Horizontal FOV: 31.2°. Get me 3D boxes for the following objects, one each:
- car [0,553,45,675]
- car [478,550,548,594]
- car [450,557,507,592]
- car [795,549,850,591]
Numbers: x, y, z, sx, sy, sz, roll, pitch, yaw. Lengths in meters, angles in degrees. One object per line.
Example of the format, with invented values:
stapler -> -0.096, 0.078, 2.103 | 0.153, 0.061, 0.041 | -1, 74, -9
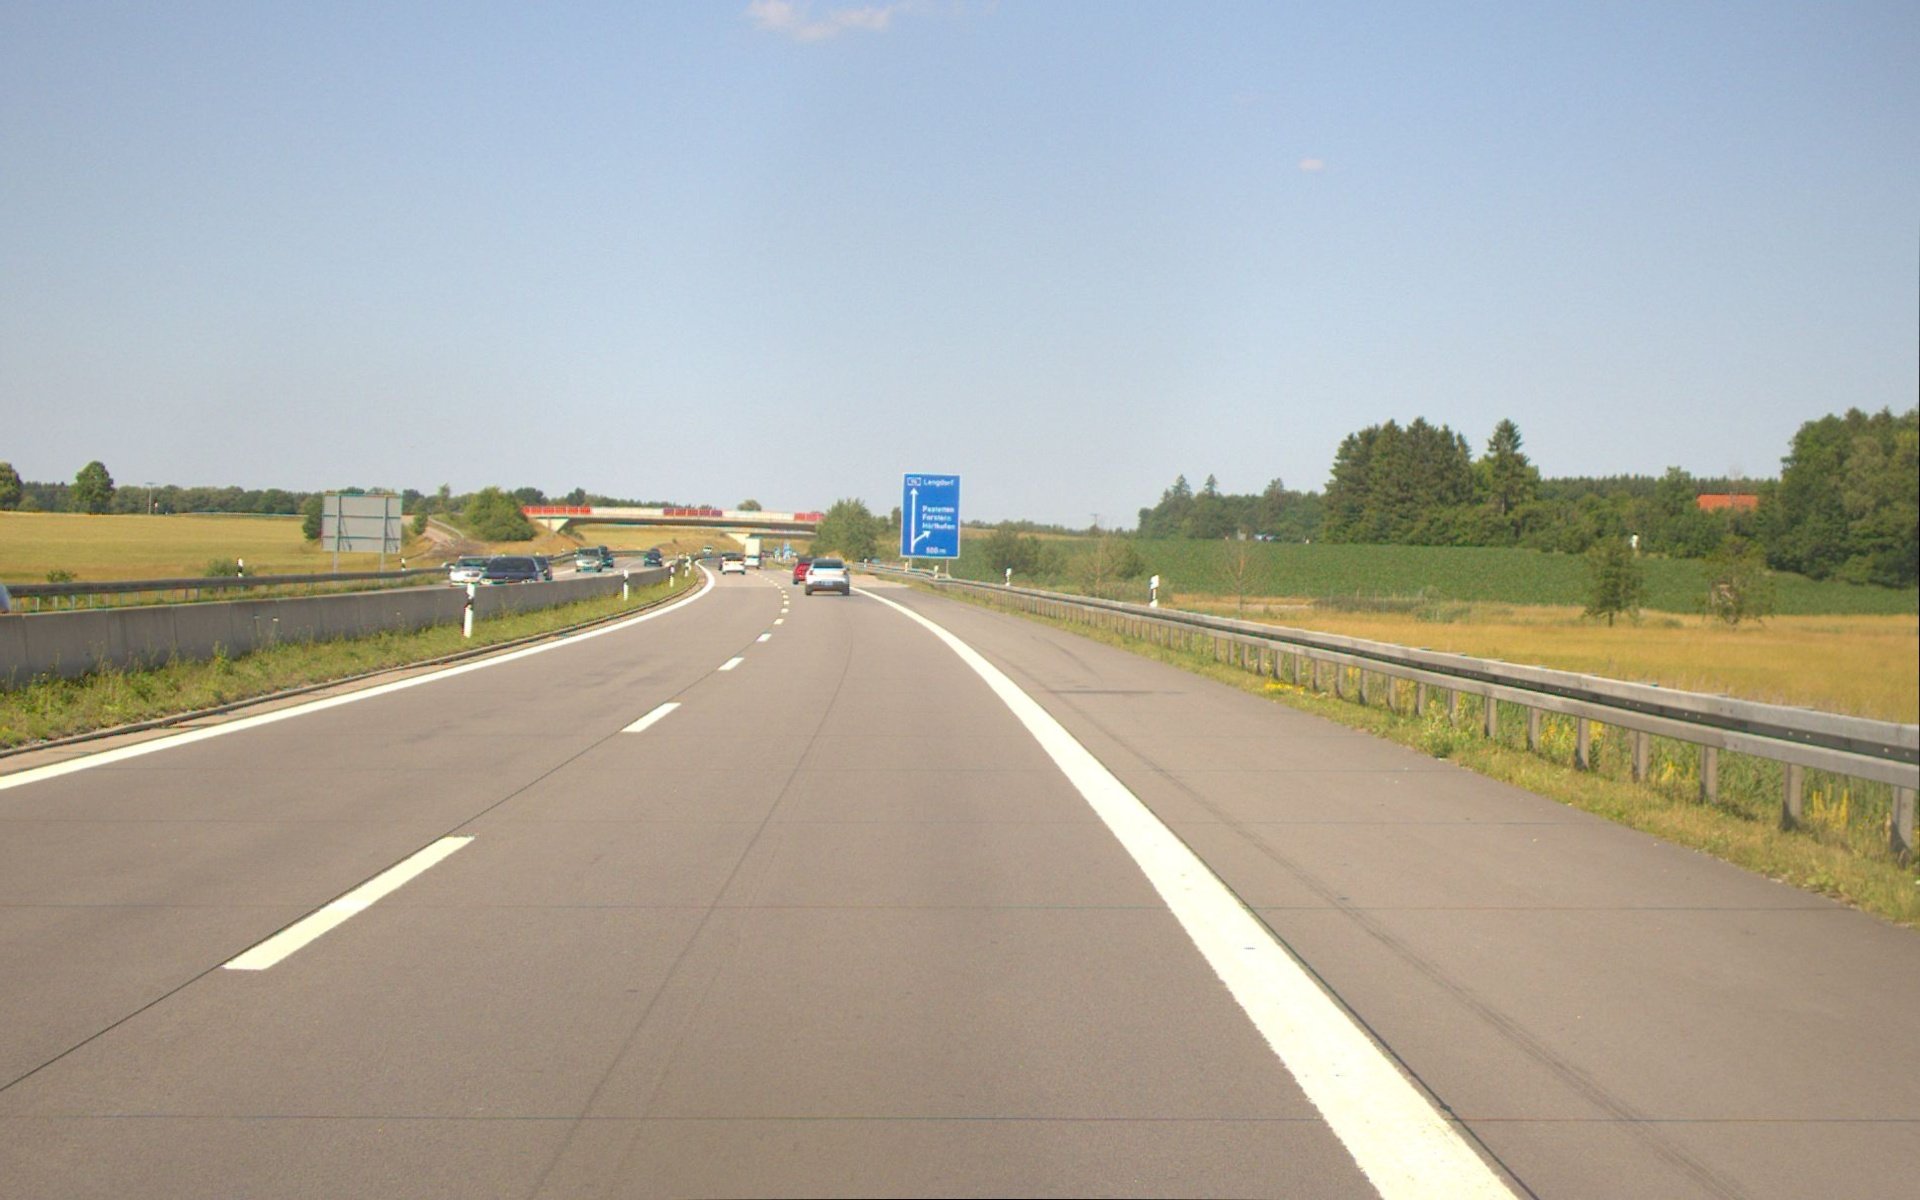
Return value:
car -> -11.681, 0.172, 38.119 | 1.822, 1.360, 5.198 | 0, 1, -2
car -> -14.292, -0.897, 110.051 | 1.822, 1.360, 4.660 | 0, 1, -3
car -> -19.624, -1.062, 140.373 | 1.822, 1.360, 5.296 | 0, 1, -3
car -> -5.849, -1.290, 146.010 | 1.993, 1.725, 4.870 | 1, 1, -6
